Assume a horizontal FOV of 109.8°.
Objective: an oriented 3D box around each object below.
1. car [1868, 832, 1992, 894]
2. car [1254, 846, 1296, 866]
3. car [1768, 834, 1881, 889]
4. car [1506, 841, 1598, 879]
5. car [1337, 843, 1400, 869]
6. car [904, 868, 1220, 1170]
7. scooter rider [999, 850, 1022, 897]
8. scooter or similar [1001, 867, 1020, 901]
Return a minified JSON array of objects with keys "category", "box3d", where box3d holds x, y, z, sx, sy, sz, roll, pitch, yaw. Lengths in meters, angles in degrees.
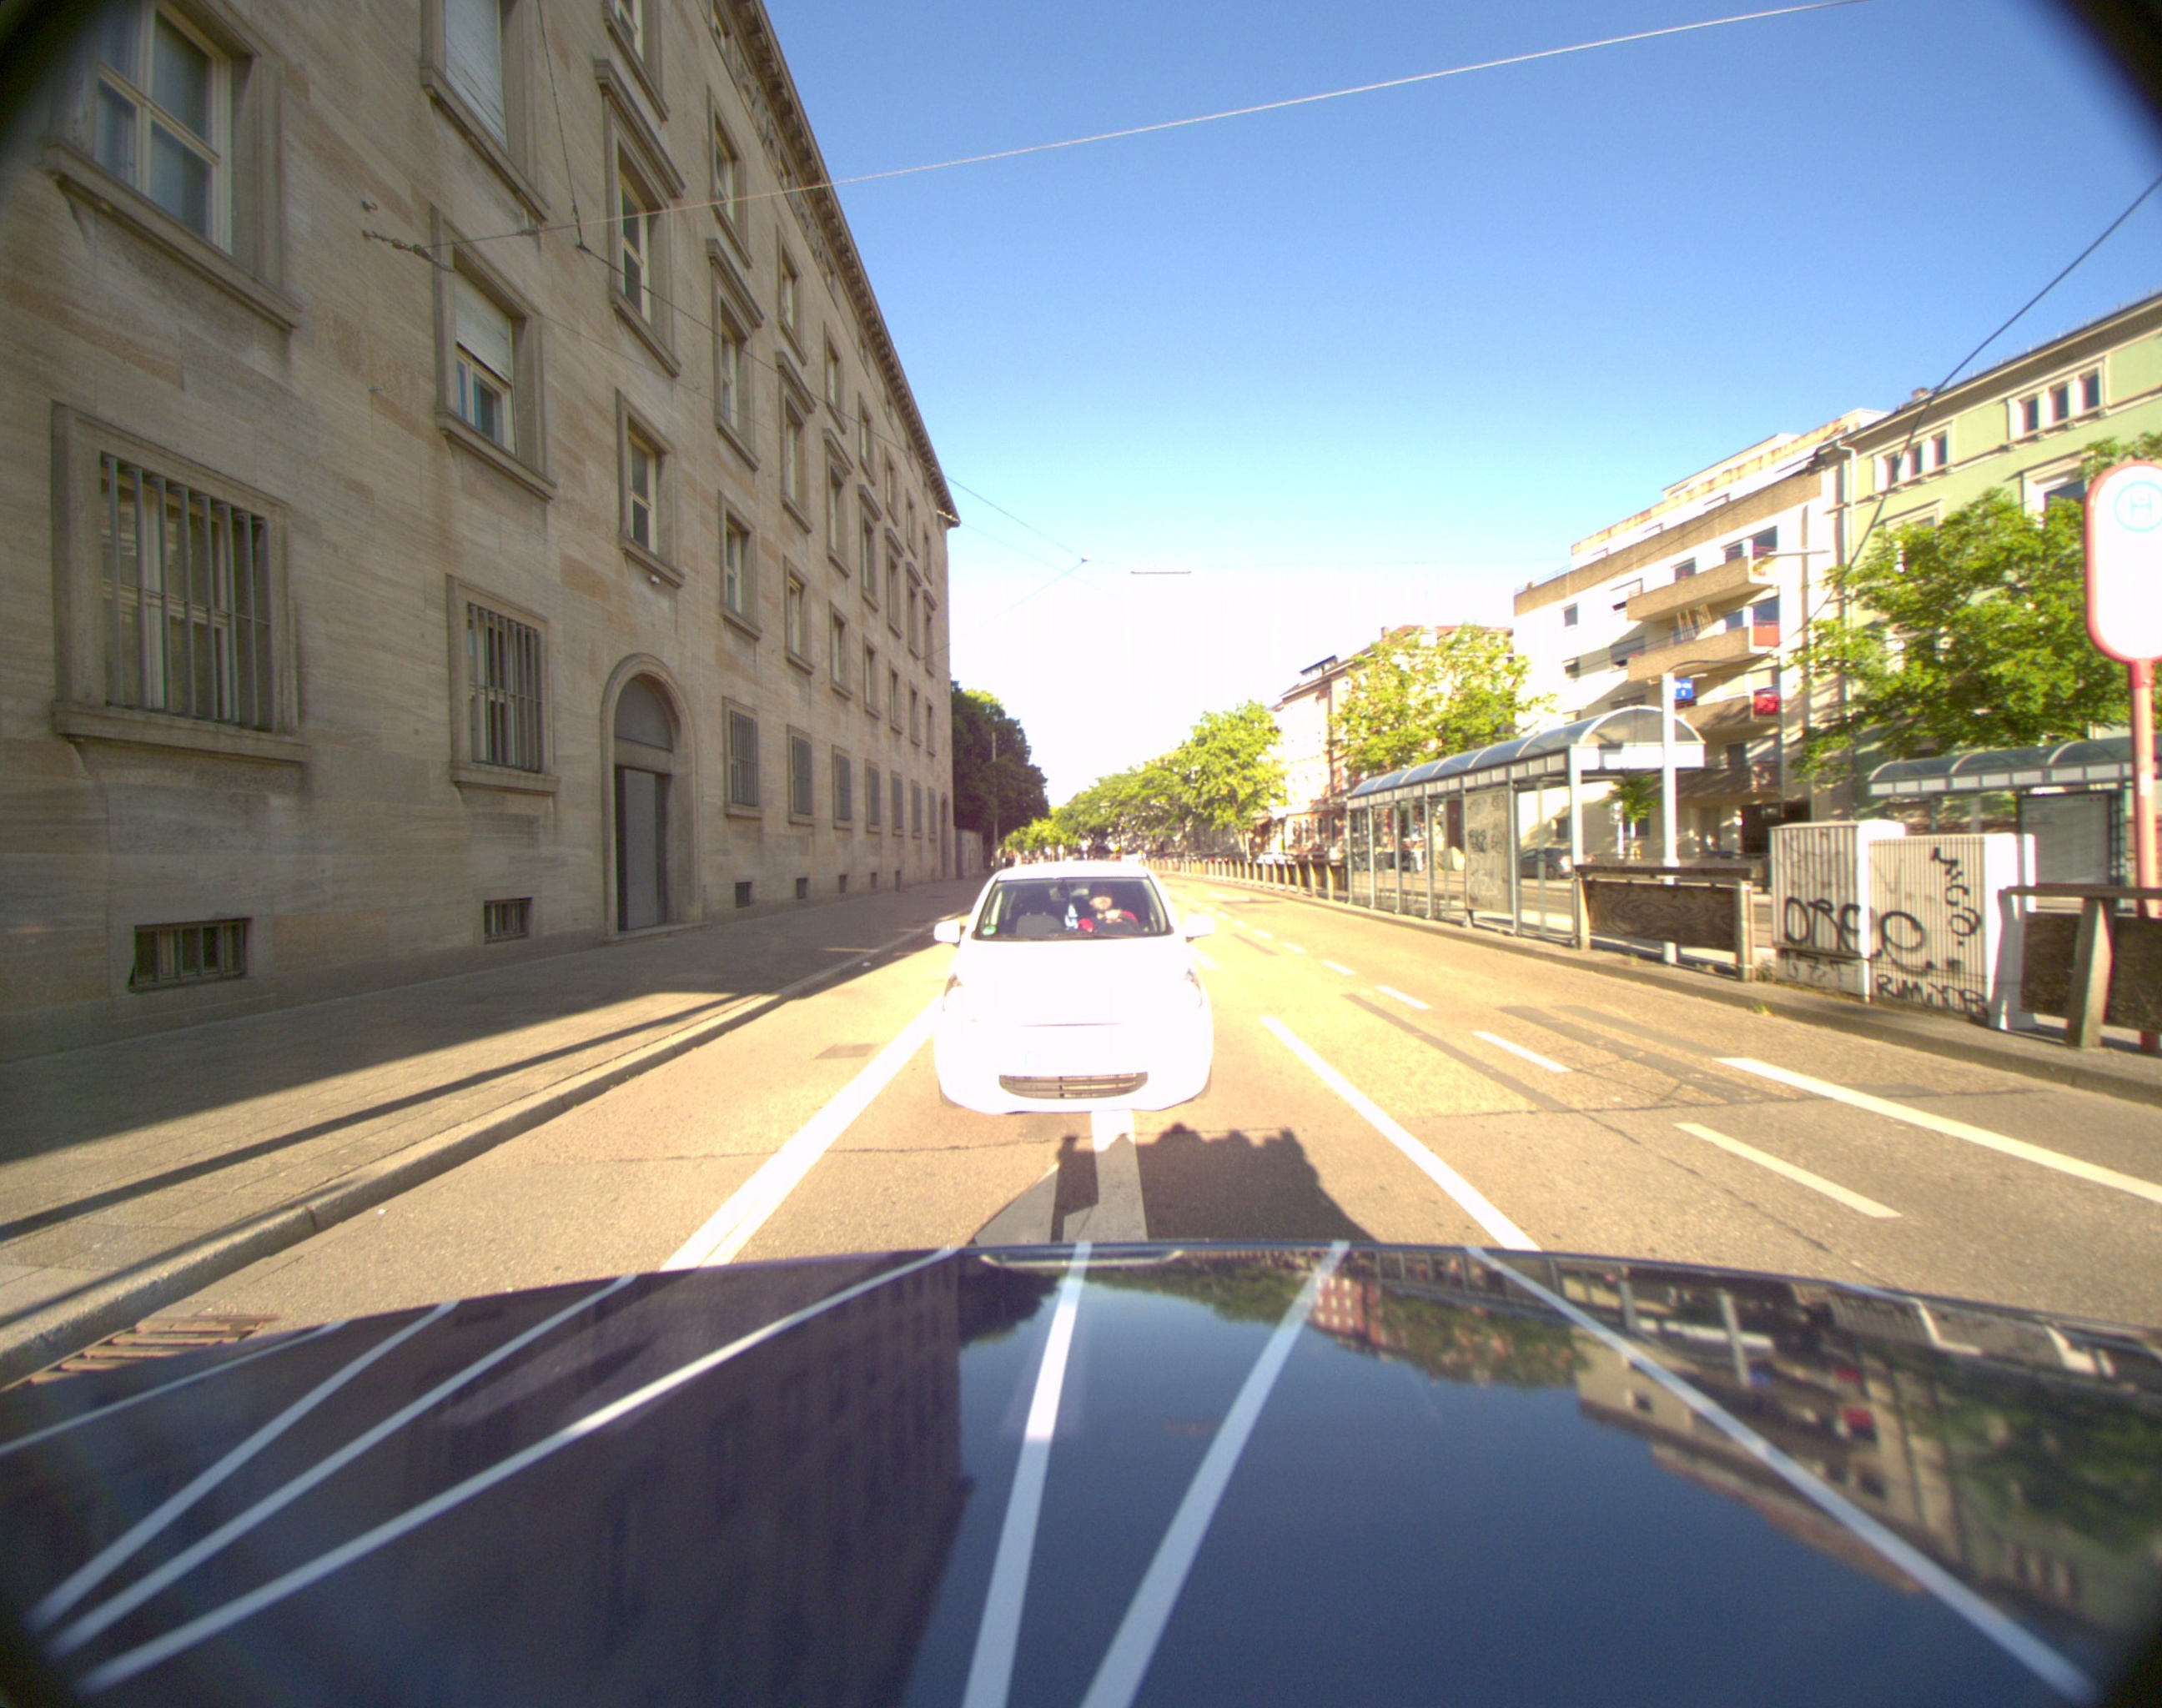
[{"category":"car","box3d":[24.462,0.227,21.886,3.605,1.558,1.627,-3,1,-29]},{"category":"car","box3d":[16.258,0.151,63.473,3.607,1.558,1.627,-3,1,-42]},{"category":"car","box3d":[23.883,0.221,24.398,3.605,1.558,1.627,-3,1,-29]},{"category":"car","box3d":[20.914,0.228,33.928,1.631,1.558,3.598,-2,1,-5]},{"category":"car","box3d":[19.543,0.120,51.719,3.599,1.558,1.630,-2,1,-7]},{"category":"car","box3d":[-0.075,0.901,5.805,1.612,1.462,3.631,-2,0,1]},{"category":"scooter rider","box3d":[-2.515,0.688,27.023,0.731,1.661,0.556,-1,1,0]},{"category":"scooter or similar","box3d":[-2.494,1.051,27.000,0.536,1.178,1.328,-1,0,0]}]
